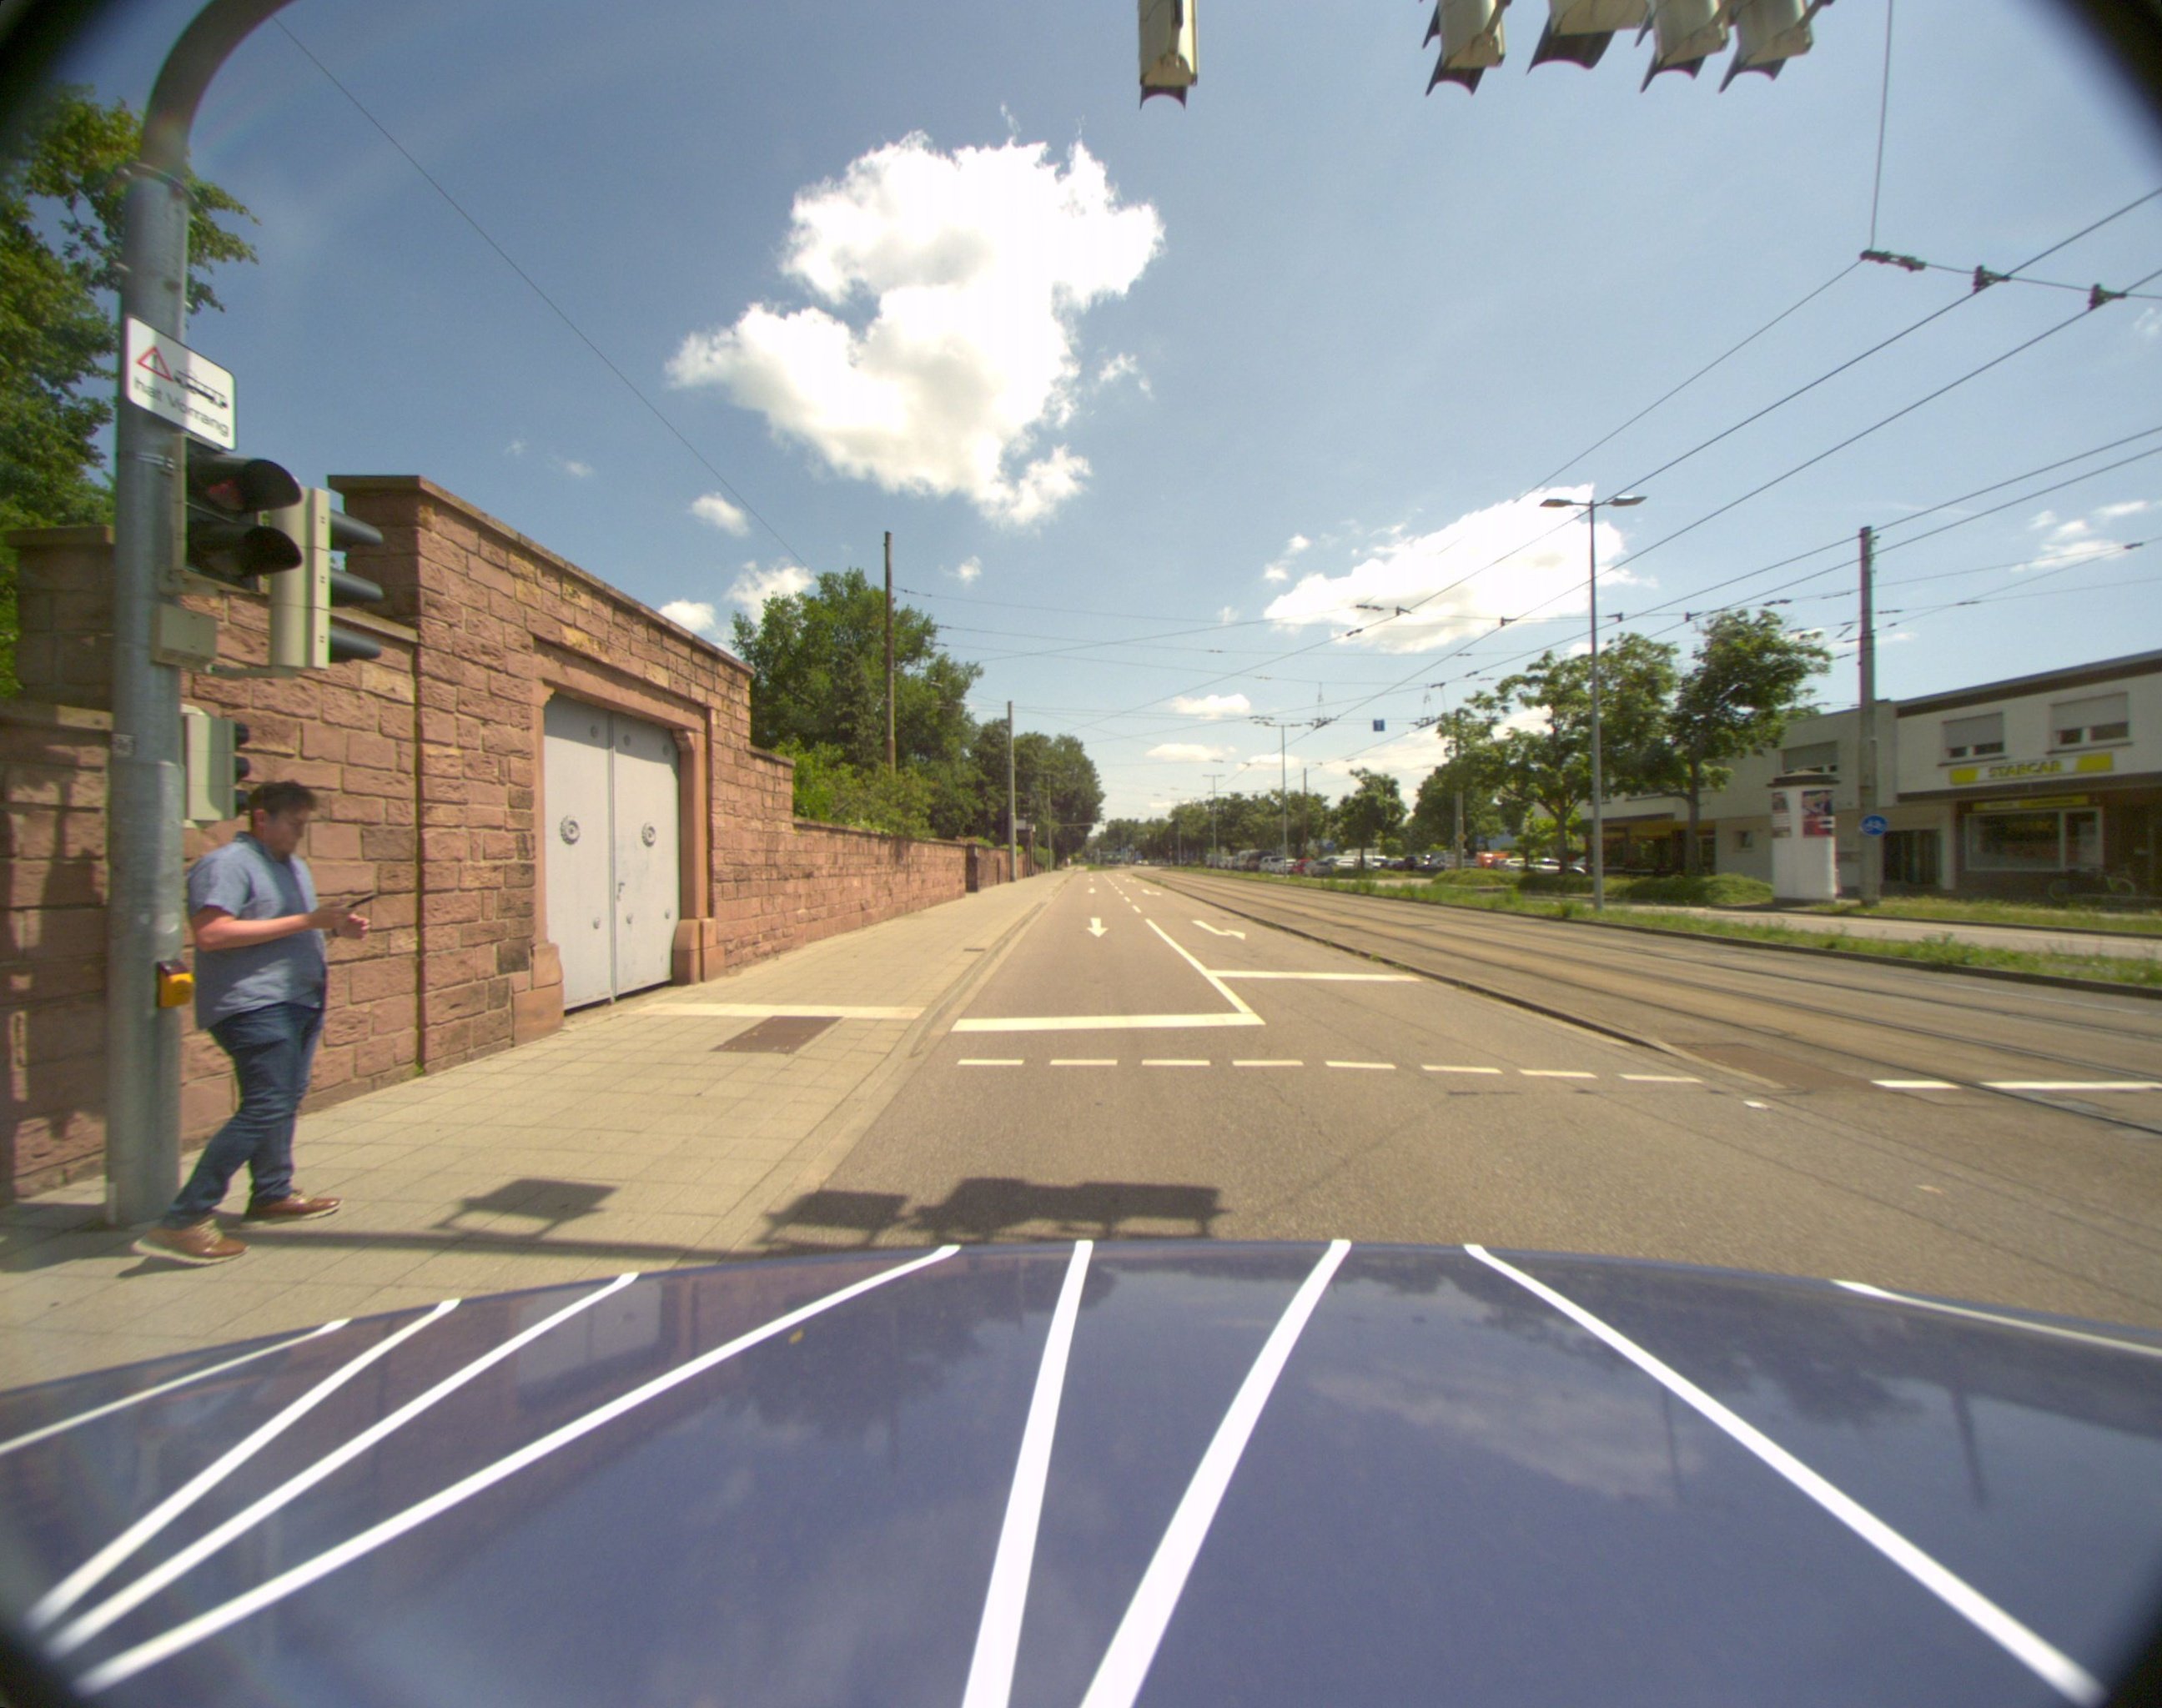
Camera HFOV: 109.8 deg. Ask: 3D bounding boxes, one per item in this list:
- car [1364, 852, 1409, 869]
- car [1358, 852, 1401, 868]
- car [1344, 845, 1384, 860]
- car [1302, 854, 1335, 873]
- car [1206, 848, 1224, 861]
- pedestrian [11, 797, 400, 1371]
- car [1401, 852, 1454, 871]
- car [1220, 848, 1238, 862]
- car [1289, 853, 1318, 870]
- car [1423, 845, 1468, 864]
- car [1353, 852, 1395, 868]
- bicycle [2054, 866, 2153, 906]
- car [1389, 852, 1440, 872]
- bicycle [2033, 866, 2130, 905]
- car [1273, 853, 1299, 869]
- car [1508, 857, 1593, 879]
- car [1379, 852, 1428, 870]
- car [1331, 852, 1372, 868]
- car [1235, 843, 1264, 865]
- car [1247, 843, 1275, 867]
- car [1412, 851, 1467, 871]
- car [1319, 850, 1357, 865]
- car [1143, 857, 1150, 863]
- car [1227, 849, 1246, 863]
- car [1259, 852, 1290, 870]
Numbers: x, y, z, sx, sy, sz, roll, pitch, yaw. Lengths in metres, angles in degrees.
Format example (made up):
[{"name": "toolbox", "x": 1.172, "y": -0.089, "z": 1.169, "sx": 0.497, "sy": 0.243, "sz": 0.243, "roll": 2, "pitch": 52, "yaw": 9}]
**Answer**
[{"name": "car", "x": 32.111, "y": 0.678, "z": 79.989, "sx": 3.996, "sy": 1.726, "sz": 1.803, "roll": 1, "pitch": 1, "yaw": 1}, {"name": "car", "x": 32.495, "y": 0.661, "z": 82.750, "sx": 3.996, "sy": 1.726, "sz": 1.903, "roll": 0, "pitch": 0, "yaw": 1}, {"name": "car", "x": 46.263, "y": -0.276, "z": 124.363, "sx": 5.698, "sy": 2.467, "sz": 2.259, "roll": 0, "pitch": 0, "yaw": -2}, {"name": "car", "x": 21.061, "y": 0.790, "z": 67.621, "sx": 1.580, "sy": 1.530, "sz": 4.551, "roll": -2, "pitch": 0, "yaw": 2}, {"name": "car", "x": 22.129, "y": 0.076, "z": 125.663, "sx": 2.071, "sy": 2.089, "sz": 4.488, "roll": -2, "pitch": 1, "yaw": -1}, {"name": "pedestrian", "x": -3.245, "y": 0.738, "z": 2.928, "sx": 0.768, "sy": 1.841, "sz": 0.716, "roll": 0, "pitch": 1, "yaw": -29}, {"name": "car", "x": 31.638, "y": 0.662, "z": 69.438, "sx": 3.996, "sy": 1.726, "sz": 1.879, "roll": 0, "pitch": 0, "yaw": 1}, {"name": "car", "x": 22.131, "y": 0.158, "z": 113.697, "sx": 1.795, "sy": 1.927, "sz": 4.488, "roll": -2, "pitch": 1, "yaw": -1}, {"name": "car", "x": 21.285, "y": 0.719, "z": 72.838, "sx": 1.503, "sy": 1.531, "sz": 3.648, "roll": -2, "pitch": 1, "yaw": -2}, {"name": "car", "x": 45.461, "y": 0.094, "z": 94.861, "sx": 4.652, "sy": 2.212, "sz": 1.851, "roll": 1, "pitch": 1, "yaw": -2}, {"name": "car", "x": 32.876, "y": 0.681, "z": 85.340, "sx": 3.996, "sy": 1.726, "sz": 1.803, "roll": 1, "pitch": 1, "yaw": 1}, {"name": "bicycle", "x": 28.497, "y": 0.864, "z": 21.214, "sx": 0.399, "sy": 1.035, "sz": 1.801, "roll": 0, "pitch": 0, "yaw": 3}, {"name": "car", "x": 31.458, "y": 0.718, "z": 71.712, "sx": 3.996, "sy": 1.726, "sz": 1.803, "roll": 1, "pitch": 1, "yaw": 1}, {"name": "bicycle", "x": 28.014, "y": 0.862, "z": 21.311, "sx": 0.399, "sy": 1.035, "sz": 1.801, "roll": 0, "pitch": 0, "yaw": 3}, {"name": "car", "x": 20.835, "y": 0.690, "z": 77.426, "sx": 1.502, "sy": 1.530, "sz": 4.359, "roll": -2, "pitch": 1, "yaw": 2}, {"name": "car", "x": 31.489, "y": 0.903, "z": 51.057, "sx": 4.484, "sy": 1.426, "sz": 1.907, "roll": 0, "pitch": 0, "yaw": 3}, {"name": "car", "x": 31.598, "y": 0.669, "z": 74.508, "sx": 3.996, "sy": 1.726, "sz": 1.803, "roll": 0, "pitch": 0, "yaw": 1}, {"name": "car", "x": 31.318, "y": 0.659, "z": 88.033, "sx": 3.996, "sy": 1.726, "sz": 1.803, "roll": 1, "pitch": 1, "yaw": 1}, {"name": "car", "x": 21.723, "y": -0.037, "z": 98.286, "sx": 2.156, "sy": 2.596, "sz": 6.704, "roll": -2, "pitch": 1, "yaw": 0}, {"name": "car", "x": 21.281, "y": 0.106, "z": 90.011, "sx": 2.156, "sy": 2.596, "sz": 5.033, "roll": -2, "pitch": 1, "yaw": 1}, {"name": "car", "x": 31.392, "y": 0.637, "z": 66.612, "sx": 3.996, "sy": 1.726, "sz": 1.803, "roll": 0, "pitch": 0, "yaw": 1}, {"name": "car", "x": 32.647, "y": 0.419, "z": 96.731, "sx": 4.199, "sy": 1.726, "sz": 1.803, "roll": 1, "pitch": 1, "yaw": 1}, {"name": "car", "x": 18.504, "y": 1.709, "z": 213.868, "sx": 1.681, "sy": 1.680, "sz": 3.547, "roll": 1, "pitch": 1, "yaw": 7}, {"name": "car", "x": 21.849, "y": 0.274, "z": 106.804, "sx": 1.794, "sy": 1.927, "sz": 4.649, "roll": -2, "pitch": 1, "yaw": 1}, {"name": "car", "x": 21.368, "y": 0.715, "z": 84.085, "sx": 2.156, "sy": 1.827, "sz": 4.888, "roll": -2, "pitch": 1, "yaw": 1}]
